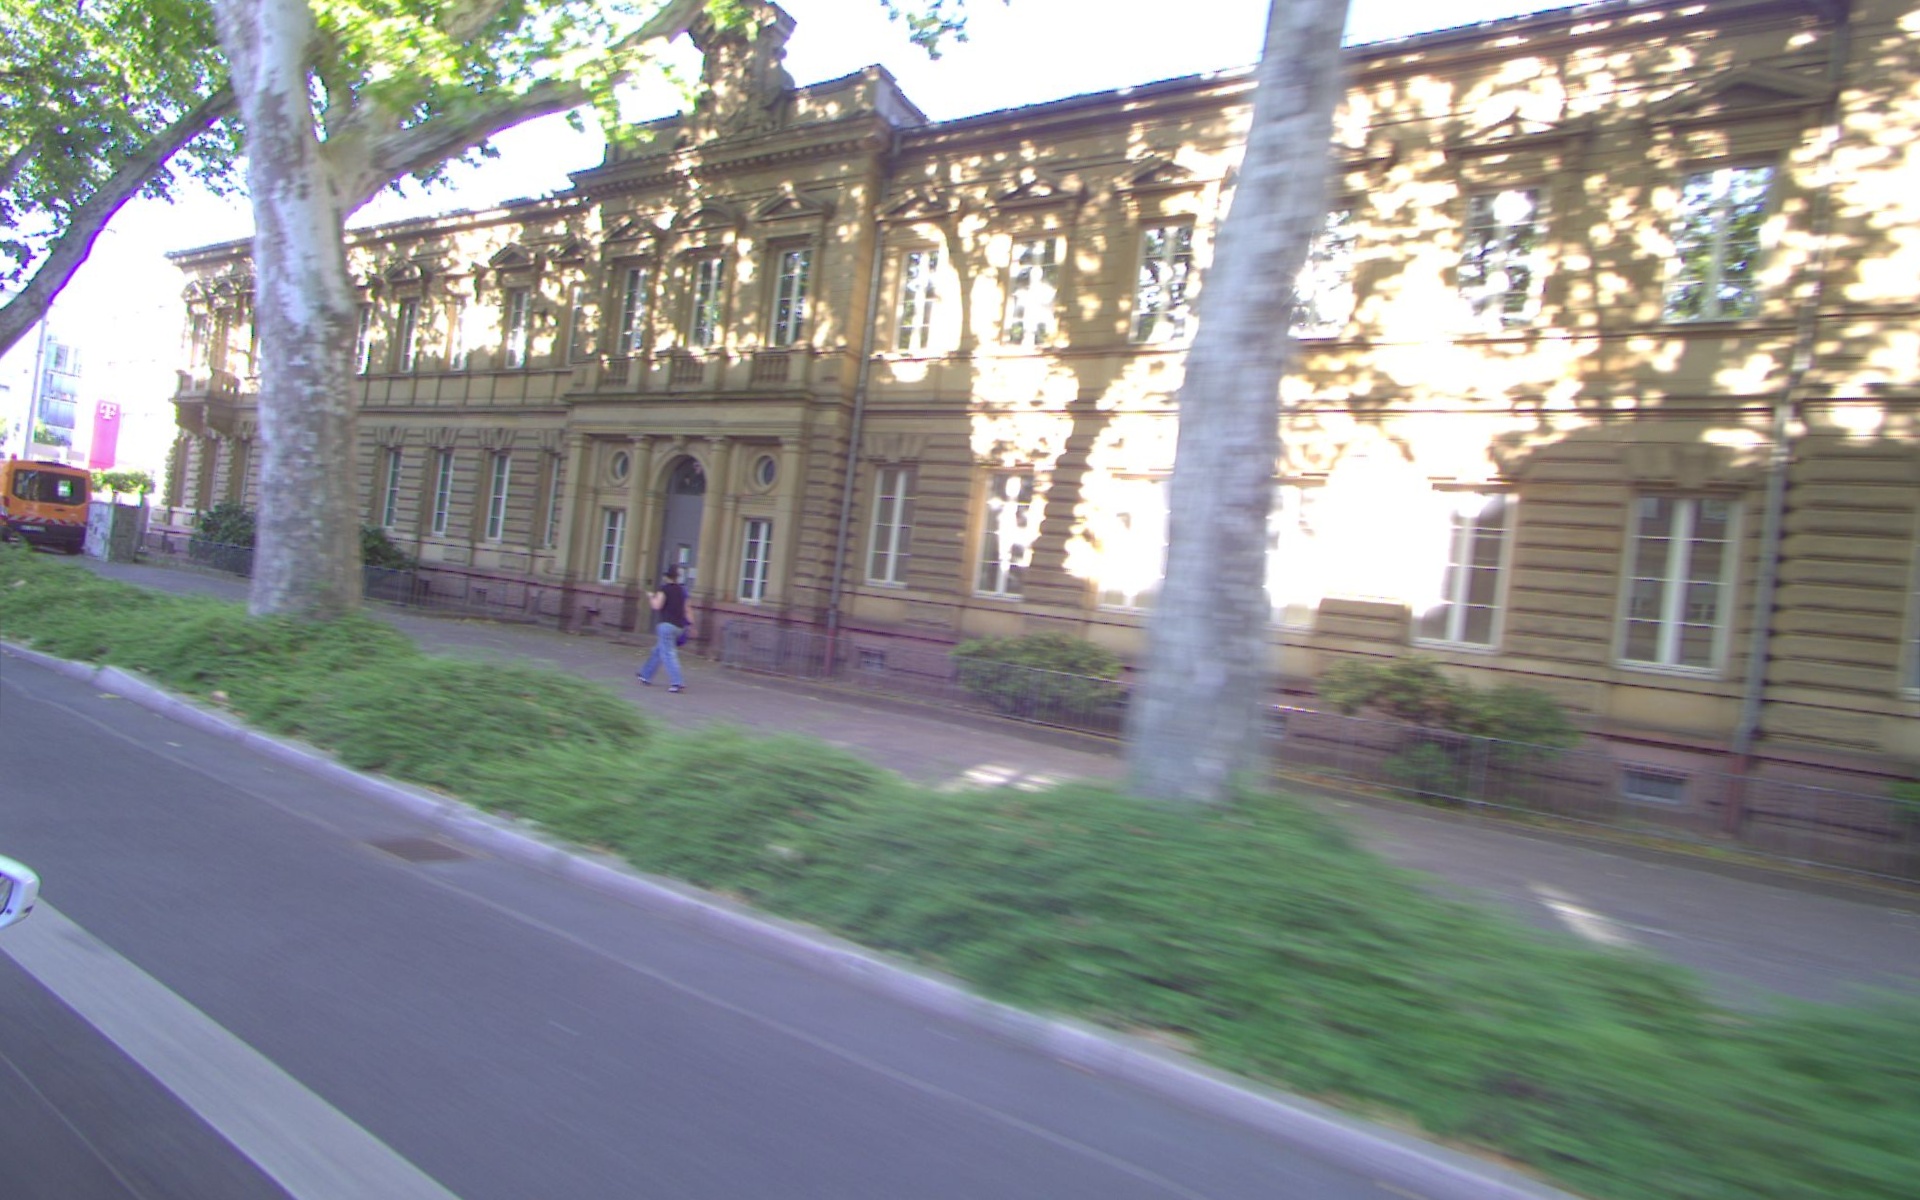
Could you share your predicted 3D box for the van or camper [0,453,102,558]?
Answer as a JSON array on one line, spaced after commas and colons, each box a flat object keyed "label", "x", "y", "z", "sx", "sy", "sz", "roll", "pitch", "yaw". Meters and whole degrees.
[{"label": "van or camper", "x": -27.126, "y": -2.787, "z": 29.043, "sx": 5.025, "sy": 2.492, "sz": 2.031, "roll": 6, "pitch": -2, "yaw": 33}]

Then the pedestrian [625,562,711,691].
[{"label": "pedestrian", "x": -4.029, "y": 0.360, "z": 13.853, "sx": 0.645, "sy": 1.651, "sz": 0.862, "roll": 9, "pitch": -2, "yaw": -40}]
